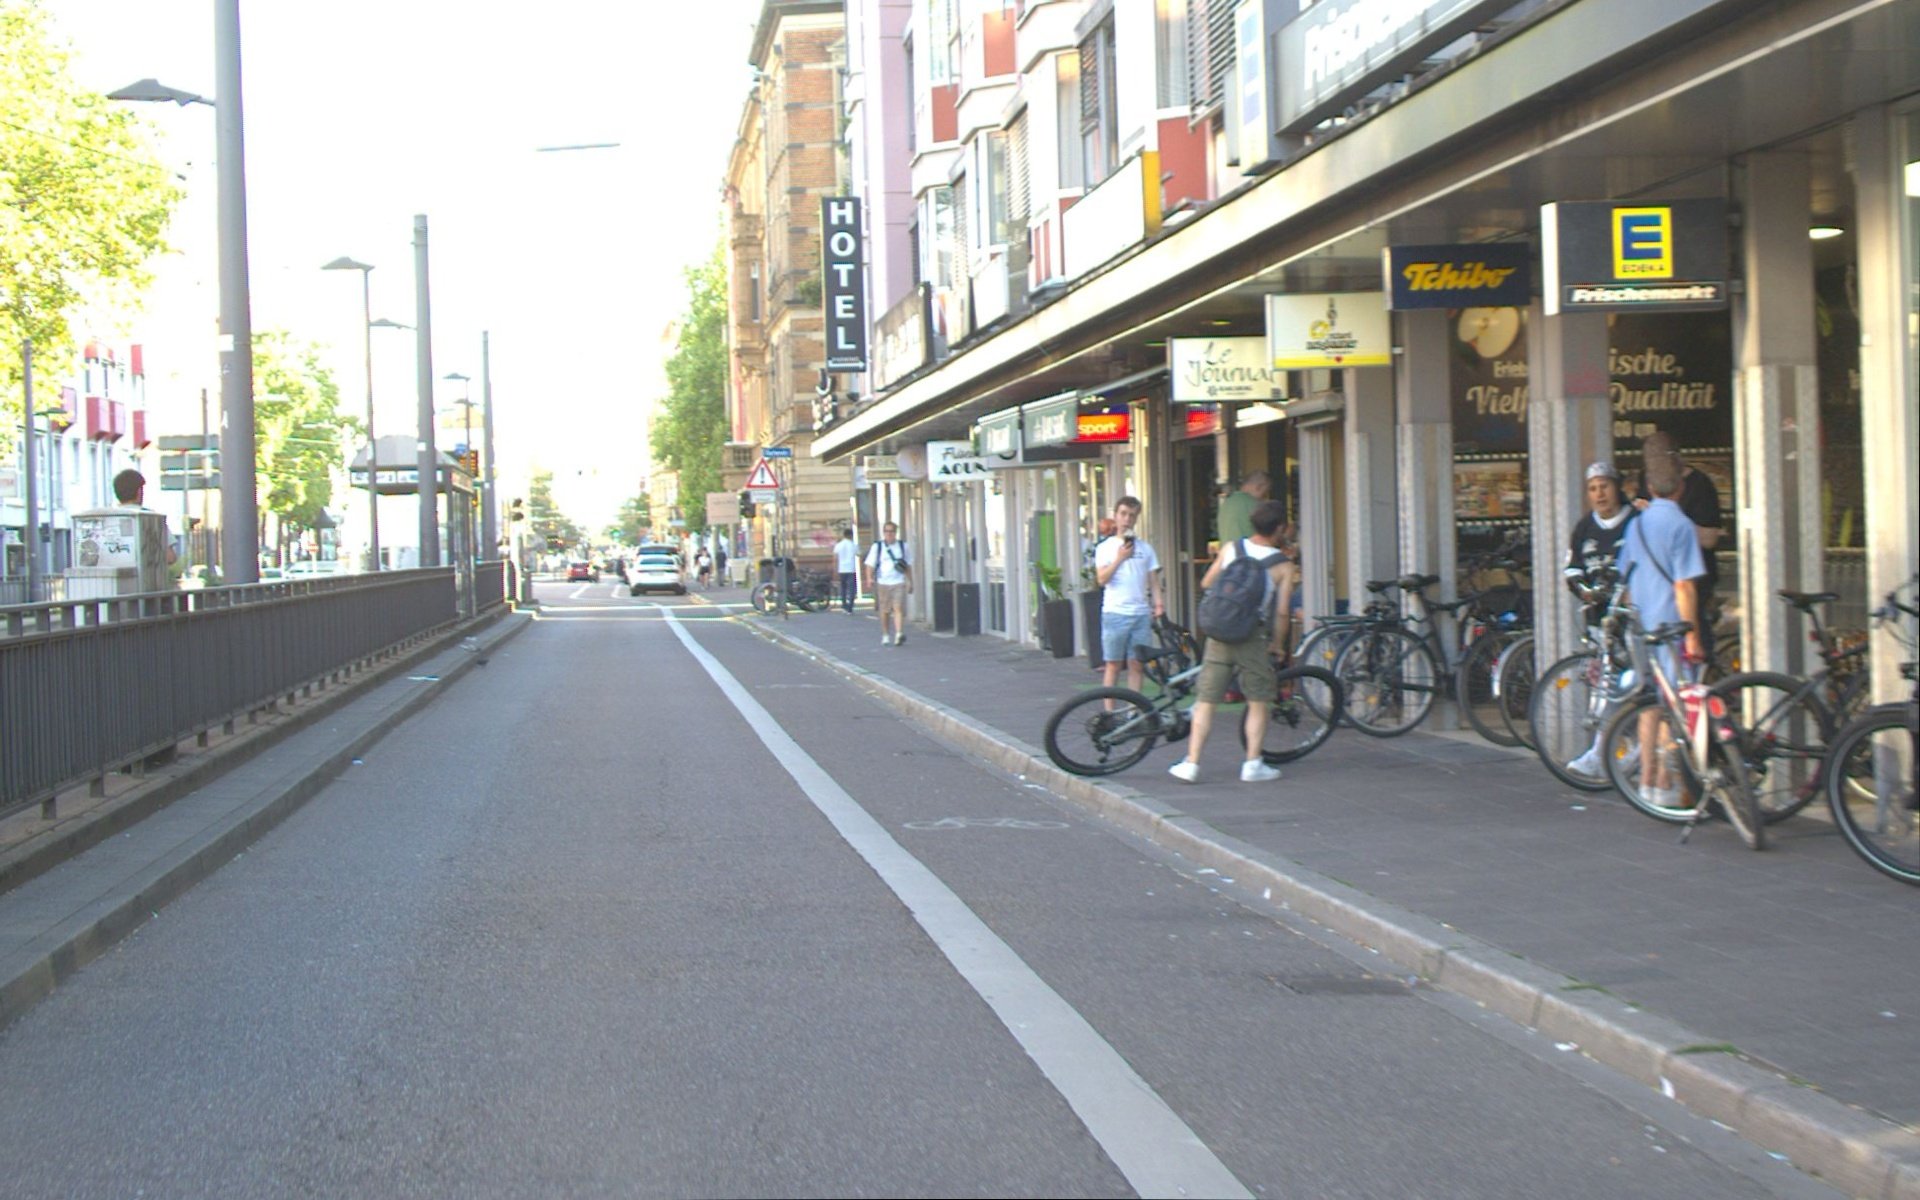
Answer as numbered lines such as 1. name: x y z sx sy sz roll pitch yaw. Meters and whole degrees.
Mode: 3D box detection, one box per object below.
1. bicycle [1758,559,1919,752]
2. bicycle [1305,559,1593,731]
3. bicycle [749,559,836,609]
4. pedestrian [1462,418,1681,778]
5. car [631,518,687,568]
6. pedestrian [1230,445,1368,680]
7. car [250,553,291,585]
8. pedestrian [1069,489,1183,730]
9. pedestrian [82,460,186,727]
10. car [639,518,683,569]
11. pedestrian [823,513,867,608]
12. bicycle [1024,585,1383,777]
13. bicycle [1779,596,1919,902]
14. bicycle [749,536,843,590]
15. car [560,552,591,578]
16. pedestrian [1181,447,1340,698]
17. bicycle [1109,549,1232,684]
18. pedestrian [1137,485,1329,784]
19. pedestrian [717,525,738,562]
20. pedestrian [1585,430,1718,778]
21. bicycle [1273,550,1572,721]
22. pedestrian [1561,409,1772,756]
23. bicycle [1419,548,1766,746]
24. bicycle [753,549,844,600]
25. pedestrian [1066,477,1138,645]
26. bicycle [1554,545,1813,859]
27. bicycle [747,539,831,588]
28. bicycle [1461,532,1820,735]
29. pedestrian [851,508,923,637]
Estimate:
1. bicycle: 5.242 0.249 18.056 1.923 0.935 0.576 -3 1 -8
2. bicycle: 3.173 0.286 22.395 1.730 0.970 0.506 -5 1 -1
3. bicycle: -3.729 -0.355 76.345 1.833 1.050 0.718 -2 1 -8
4. pedestrian: 3.171 -0.021 17.833 0.731 1.810 0.806 -2 2 -43
5. car: -10.935 -2.069 125.013 1.966 1.765 4.876 0 1 -5
6. pedestrian: 2.769 -0.303 28.107 0.777 1.860 0.687 -4 1 -25
7. car: -36.206 -1.660 180.696 1.869 1.594 4.255 -1 1 -8
8. pedestrian: 1.184 0.063 24.672 0.632 1.667 0.771 -3 1 -6
9. pedestrian: -5.642 -0.047 23.517 0.582 1.785 0.606 -2 1 -7
10. car: -12.820 -2.429 147.628 1.705 2.112 3.707 -1 0 -3
11. pedestrian: -2.320 -0.789 69.248 0.813 1.878 0.776 2 0 -4
12. bicycle: 1.453 0.478 20.690 2.022 0.970 0.659 -4 2 -3
13. bicycle: 3.522 0.500 11.727 0.676 0.973 1.843 -6 1 -9
14. bicycle: -3.614 -0.811 75.617 1.969 1.101 0.614 -2 1 -8
15. car: -26.027 -2.354 232.955 2.041 1.668 4.876 0 2 -6
16. pedestrian: 2.350 -0.215 26.959 0.914 1.860 0.779 -6 1 -9
17. bicycle: 1.808 0.123 29.746 0.657 1.063 1.795 -6 1 -6
18. pedestrian: 1.583 0.191 20.062 0.776 1.658 0.917 -4 1 -14
19. pedestrian: -9.987 -2.430 147.754 0.775 1.561 0.914 -5 1 -4
20. pedestrian: 3.258 0.014 16.193 0.407 1.589 0.460 -5 1 22
21. bicycle: 3.201 0.237 23.846 1.924 1.056 0.576 -3 1 -6
22. pedestrian: 3.797 -0.102 18.477 0.731 1.810 0.806 -2 2 -43
23. bicycle: 3.812 0.272 20.758 1.923 1.056 0.576 -3 1 -8
24. bicycle: -3.524 -0.559 74.970 1.912 1.044 0.681 -2 1 -8
25. pedestrian: 1.440 -0.399 34.869 0.541 1.667 0.469 -3 1 -14
26. bicycle: 3.029 0.396 14.542 0.799 1.171 1.632 -5 1 6
27. bicycle: -3.885 -0.829 78.007 1.833 1.050 0.710 -2 1 -8
28. bicycle: 3.975 0.186 20.113 1.923 1.056 0.576 -3 1 -8
29. pedestrian: -1.023 -0.381 47.949 0.798 1.716 1.061 -5 1 -4
